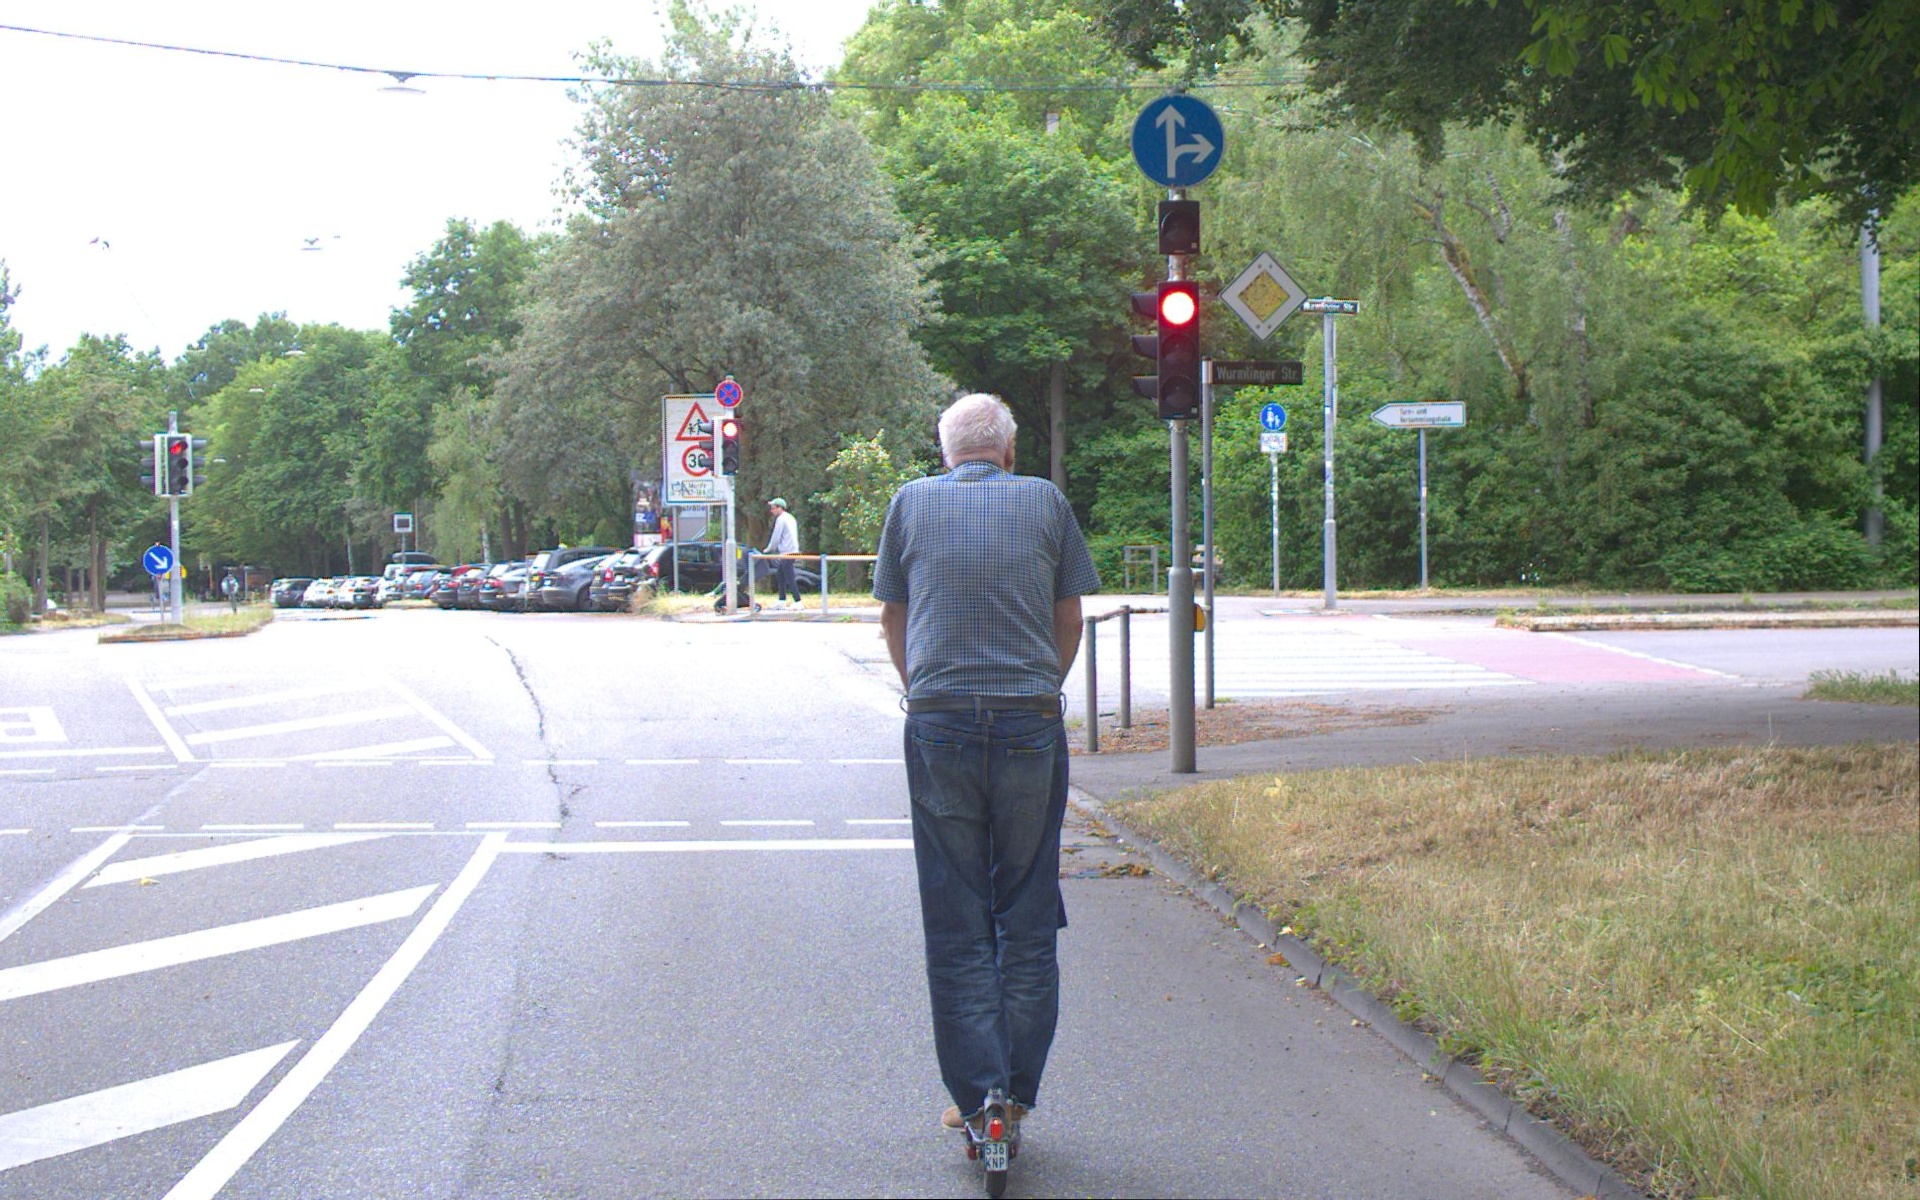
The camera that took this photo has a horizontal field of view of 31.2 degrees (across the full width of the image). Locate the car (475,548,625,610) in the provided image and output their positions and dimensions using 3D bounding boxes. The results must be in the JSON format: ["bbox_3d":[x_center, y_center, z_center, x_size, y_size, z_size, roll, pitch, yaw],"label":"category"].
[{"bbox_3d":[-11.710,-0.601,98.197,3.841,1.605,1.728,-3,1,-24],"label":"car"}]

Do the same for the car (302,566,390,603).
[{"bbox_3d":[-29.894,-0.751,167.457,3.841,1.605,1.728,-3,1,-24],"label":"car"}]

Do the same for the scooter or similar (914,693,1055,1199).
[{"bbox_3d":[0.069,0.836,8.128,0.282,1.174,1.177,-1,1,1],"label":"scooter or similar"}]

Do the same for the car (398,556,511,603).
[{"bbox_3d":[-19.236,-0.787,130.843,3.841,1.605,1.728,-3,1,-24],"label":"car"}]

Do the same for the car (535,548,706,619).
[{"bbox_3d":[-8.494,-0.419,85.975,3.841,1.605,1.728,-3,1,-25],"label":"car"}]

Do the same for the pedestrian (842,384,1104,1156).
[{"bbox_3d":[0.031,0.398,8.306,0.572,1.807,0.420,-1,1,0],"label":"pedestrian"}]

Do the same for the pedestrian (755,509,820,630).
[{"bbox_3d":[-2.689,-0.476,53.464,0.883,1.856,0.574,-2,1,-12],"label":"pedestrian"}]

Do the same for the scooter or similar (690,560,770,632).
[{"bbox_3d":[-3.560,-0.061,53.202,1.107,1.077,0.578,-2,1,-17],"label":"scooter or similar"}]

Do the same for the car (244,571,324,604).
[{"bbox_3d":[-36.201,-0.681,183.995,3.841,1.605,1.728,-3,1,-24],"label":"car"}]

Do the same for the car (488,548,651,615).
[{"bbox_3d":[-10.279,-0.499,90.506,3.841,1.605,1.728,-3,1,-24],"label":"car"}]

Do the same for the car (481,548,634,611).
[{"bbox_3d":[-11.206,-0.580,95.797,3.841,1.605,1.728,-3,1,-24],"label":"car"}]

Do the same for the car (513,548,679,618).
[{"bbox_3d":[-9.363,-0.443,88.495,3.841,1.605,1.728,-3,1,-24],"label":"car"}]

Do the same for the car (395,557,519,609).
[{"bbox_3d":[-17.246,-0.602,117.922,3.841,1.605,1.728,-3,1,-24],"label":"car"}]
